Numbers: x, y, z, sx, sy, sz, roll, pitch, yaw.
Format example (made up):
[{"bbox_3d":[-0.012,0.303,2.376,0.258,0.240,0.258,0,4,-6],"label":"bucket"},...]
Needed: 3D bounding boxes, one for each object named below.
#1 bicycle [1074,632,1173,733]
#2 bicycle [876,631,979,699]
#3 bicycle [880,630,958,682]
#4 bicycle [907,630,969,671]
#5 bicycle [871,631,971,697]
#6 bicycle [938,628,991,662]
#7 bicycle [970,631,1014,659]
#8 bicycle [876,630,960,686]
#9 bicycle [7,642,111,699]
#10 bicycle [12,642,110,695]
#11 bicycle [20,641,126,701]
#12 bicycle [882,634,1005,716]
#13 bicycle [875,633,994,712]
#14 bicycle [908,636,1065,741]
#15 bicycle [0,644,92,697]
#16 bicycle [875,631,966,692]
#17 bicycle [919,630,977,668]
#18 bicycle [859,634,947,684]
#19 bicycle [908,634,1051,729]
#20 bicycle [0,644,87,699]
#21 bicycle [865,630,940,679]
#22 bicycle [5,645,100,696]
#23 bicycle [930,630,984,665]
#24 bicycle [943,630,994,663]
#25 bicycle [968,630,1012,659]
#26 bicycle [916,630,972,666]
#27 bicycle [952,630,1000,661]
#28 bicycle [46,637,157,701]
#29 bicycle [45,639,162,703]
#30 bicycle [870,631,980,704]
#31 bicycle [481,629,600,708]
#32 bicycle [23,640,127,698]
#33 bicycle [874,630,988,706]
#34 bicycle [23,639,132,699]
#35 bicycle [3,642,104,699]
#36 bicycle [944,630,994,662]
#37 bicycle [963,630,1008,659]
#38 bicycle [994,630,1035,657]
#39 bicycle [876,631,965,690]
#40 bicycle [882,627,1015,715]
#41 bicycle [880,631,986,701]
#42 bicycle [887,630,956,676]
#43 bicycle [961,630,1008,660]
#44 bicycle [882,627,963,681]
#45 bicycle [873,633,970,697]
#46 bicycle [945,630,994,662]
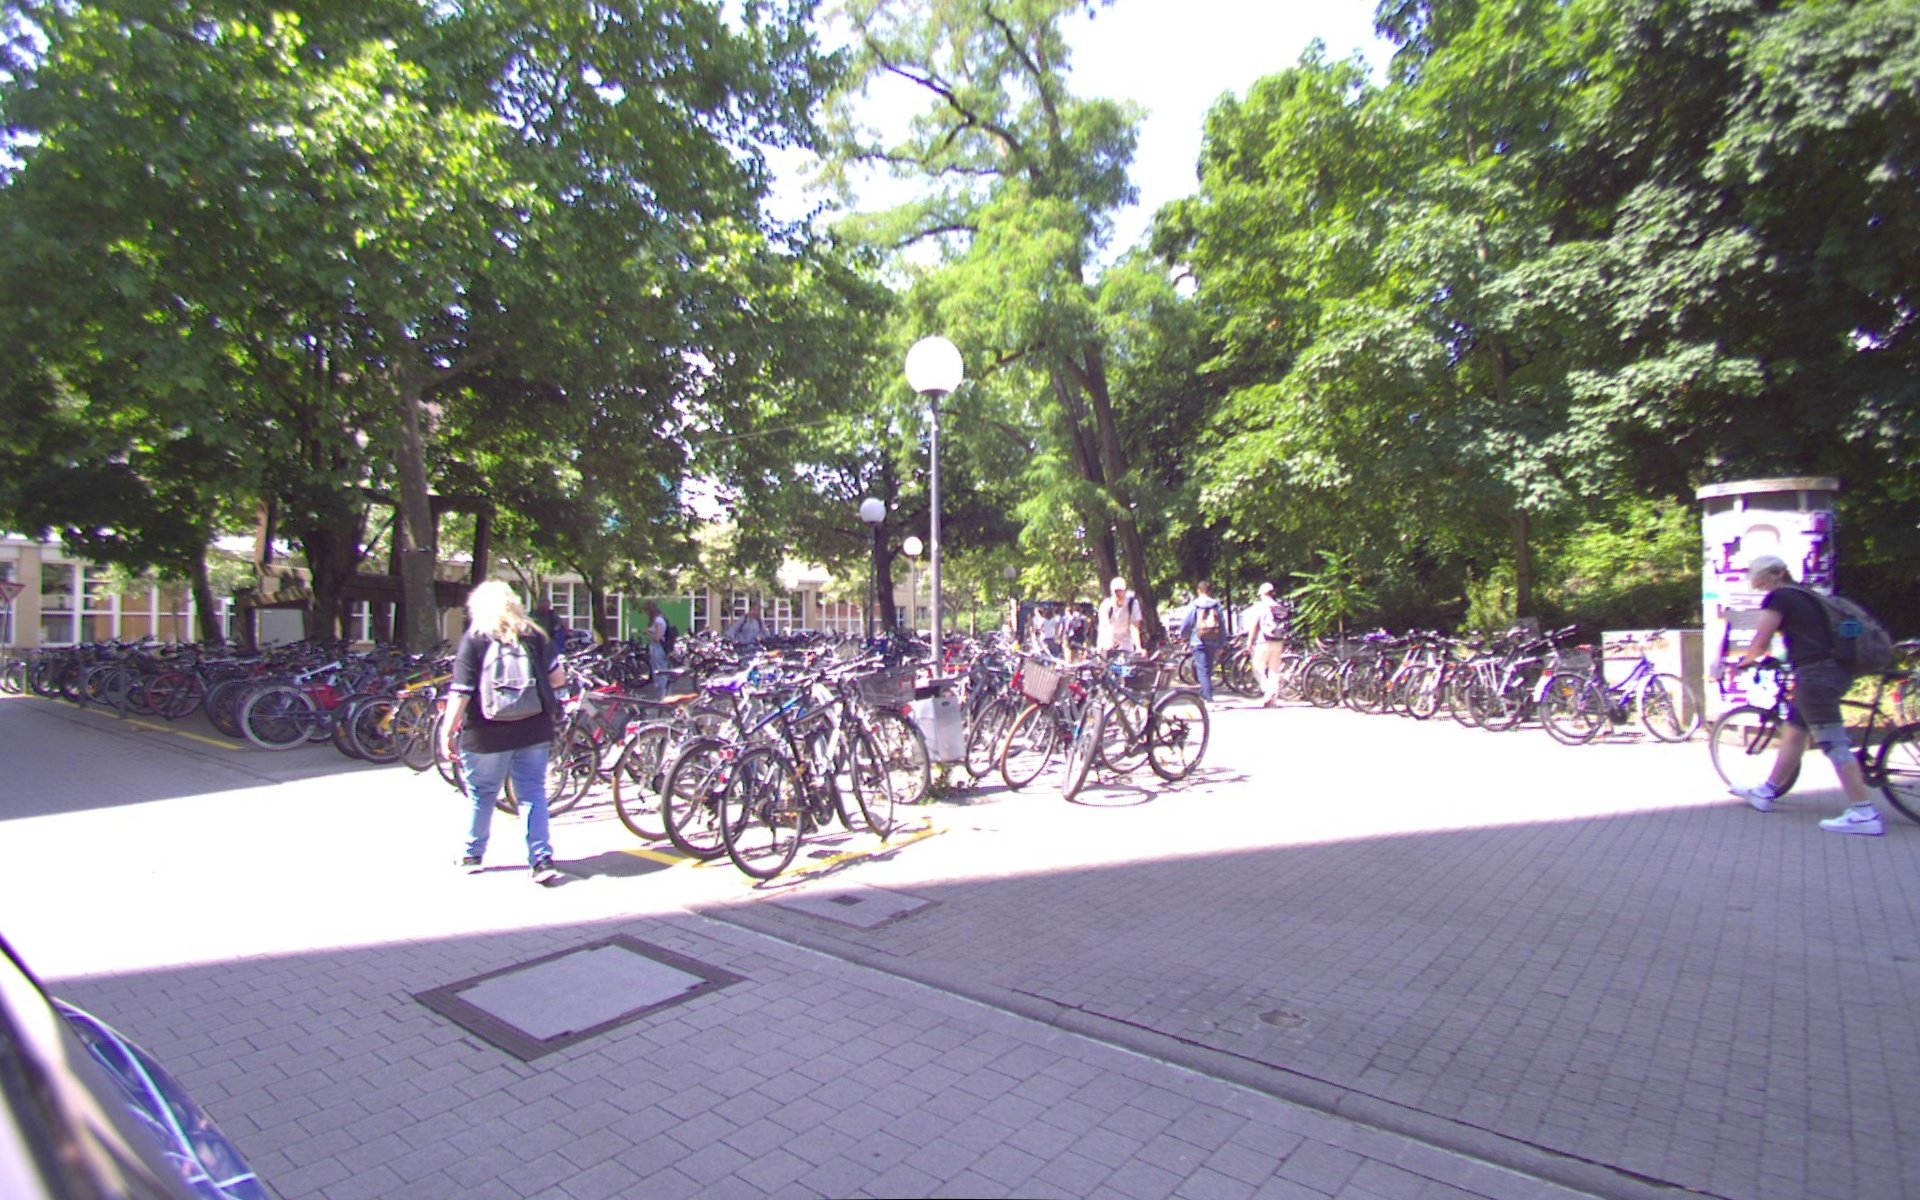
[{"bbox_3d":[1.926,0.946,12.174,0.594,1.092,1.703,-1,-1,-12],"label":"bicycle"},{"bbox_3d":[-0.553,1.089,17.235,1.671,1.092,0.475,-1,-1,-15],"label":"bicycle"},{"bbox_3d":[-0.884,1.216,22.128,1.676,1.092,0.474,-1,-1,1],"label":"bicycle"},{"bbox_3d":[-0.609,1.394,27.996,1.676,1.092,0.474,-1,-1,1],"label":"bicycle"},{"bbox_3d":[-0.689,1.109,17.729,1.671,1.092,0.475,-1,-1,-15],"label":"bicycle"},{"bbox_3d":[0.156,1.488,33.688,1.681,1.092,0.472,-1,-1,11],"label":"bicycle"},{"bbox_3d":[1.289,1.788,40.233,1.681,1.092,0.472,-1,-1,11],"label":"bicycle"},{"bbox_3d":[-0.846,1.181,20.735,1.676,1.092,0.474,-1,-1,1],"label":"bicycle"},{"bbox_3d":[-19.065,1.470,21.429,0.629,1.116,1.606,-2,-1,44],"label":"bicycle"},{"bbox_3d":[-20.120,1.524,22.679,1.603,1.116,0.498,0,-4,-39],"label":"bicycle"},{"bbox_3d":[-18.175,1.438,20.755,0.497,1.116,1.606,-2,-1,44],"label":"bicycle"},{"bbox_3d":[-0.239,1.058,14.466,1.671,1.092,0.475,-1,-1,-15],"label":"bicycle"},{"bbox_3d":[-0.372,1.056,14.938,1.671,1.092,0.475,-1,-1,-15],"label":"bicycle"},{"bbox_3d":[0.290,0.970,11.316,1.672,1.092,0.475,-1,-1,-9],"label":"bicycle"},{"bbox_3d":[-20.847,1.594,23.013,0.496,1.116,1.608,-5,-4,39],"label":"bicycle"},{"bbox_3d":[-0.750,1.157,19.096,1.673,1.092,0.475,-1,-1,-7],"label":"bicycle"},{"bbox_3d":[-0.346,1.460,30.278,1.679,1.092,0.473,-1,-1,7],"label":"bicycle"},{"bbox_3d":[-1.129,1.176,20.291,1.716,0.969,0.452,-1,-1,1],"label":"bicycle"},{"bbox_3d":[0.234,0.979,12.437,1.671,1.092,0.475,-1,-1,-12],"label":"bicycle"},{"bbox_3d":[-20.058,1.548,22.003,0.497,1.116,1.606,-2,-1,44],"label":"bicycle"},{"bbox_3d":[-1.320,1.252,23.373,1.676,1.092,0.474,-1,-1,1],"label":"bicycle"},{"bbox_3d":[-21.341,1.650,23.818,0.496,1.116,1.608,-5,-4,39],"label":"bicycle"},{"bbox_3d":[-0.094,1.521,32.523,1.681,1.092,0.472,-1,-1,11],"label":"bicycle"},{"bbox_3d":[0.280,1.577,34.474,1.681,1.092,0.472,-1,-1,11],"label":"bicycle"},{"bbox_3d":[1.184,1.739,39.650,1.681,1.092,0.472,-1,-1,11],"label":"bicycle"},{"bbox_3d":[-0.489,1.487,31.523,1.681,1.092,0.472,-1,-1,11],"label":"bicycle"},{"bbox_3d":[0.583,1.659,37.102,1.681,1.092,0.472,-1,-1,11],"label":"bicycle"},{"bbox_3d":[-16.894,1.328,19.950,0.496,1.159,1.608,-2,-1,40],"label":"bicycle"},{"bbox_3d":[-16.370,1.339,19.377,0.643,1.116,1.611,-1,-1,34],"label":"bicycle"},{"bbox_3d":[-0.559,1.059,16.133,1.671,1.092,0.475,-1,-1,-15],"label":"bicycle"},{"bbox_3d":[-6.730,1.089,16.271,1.676,1.209,0.576,-1,-1,1],"label":"bicycle"},{"bbox_3d":[-18.521,1.421,21.196,0.506,1.116,1.606,-2,-1,44],"label":"bicycle"},{"bbox_3d":[-0.447,1.034,15.661,1.671,1.092,0.475,-1,-1,-15],"label":"bicycle"},{"bbox_3d":[-17.651,1.356,20.261,0.691,1.116,1.606,-2,-1,44],"label":"bicycle"},{"bbox_3d":[-19.497,1.499,21.790,0.497,1.116,1.606,-2,-1,44],"label":"bicycle"},{"bbox_3d":[0.319,1.602,35.115,1.681,1.092,0.472,-1,-1,11],"label":"bicycle"},{"bbox_3d":[1.003,1.723,39.168,1.681,1.092,0.472,-1,-1,11],"label":"bicycle"},{"bbox_3d":[2.308,1.844,42.595,1.681,1.092,0.472,-1,-1,11],"label":"bicycle"},{"bbox_3d":[-0.778,1.173,19.675,1.673,1.092,0.475,-1,-1,-7],"label":"bicycle"},{"bbox_3d":[-0.151,0.922,13.388,1.671,1.092,0.475,-1,-1,-15],"label":"bicycle"},{"bbox_3d":[-0.444,1.077,16.719,1.671,1.092,0.475,-1,-1,-15],"label":"bicycle"},{"bbox_3d":[-0.941,1.299,24.973,1.676,1.092,0.474,-1,-1,1],"label":"bicycle"},{"bbox_3d":[0.928,1.690,38.066,1.681,1.092,0.472,-1,-1,11],"label":"bicycle"},{"bbox_3d":[-0.789,1.139,21.313,1.676,1.092,0.474,-1,-1,1],"label":"bicycle"},{"bbox_3d":[-0.696,1.165,18.344,1.671,1.092,0.475,-1,-1,-15],"label":"bicycle"},{"bbox_3d":[0.343,1.628,36.037,1.681,1.092,0.472,-1,-1,11],"label":"bicycle"}]
